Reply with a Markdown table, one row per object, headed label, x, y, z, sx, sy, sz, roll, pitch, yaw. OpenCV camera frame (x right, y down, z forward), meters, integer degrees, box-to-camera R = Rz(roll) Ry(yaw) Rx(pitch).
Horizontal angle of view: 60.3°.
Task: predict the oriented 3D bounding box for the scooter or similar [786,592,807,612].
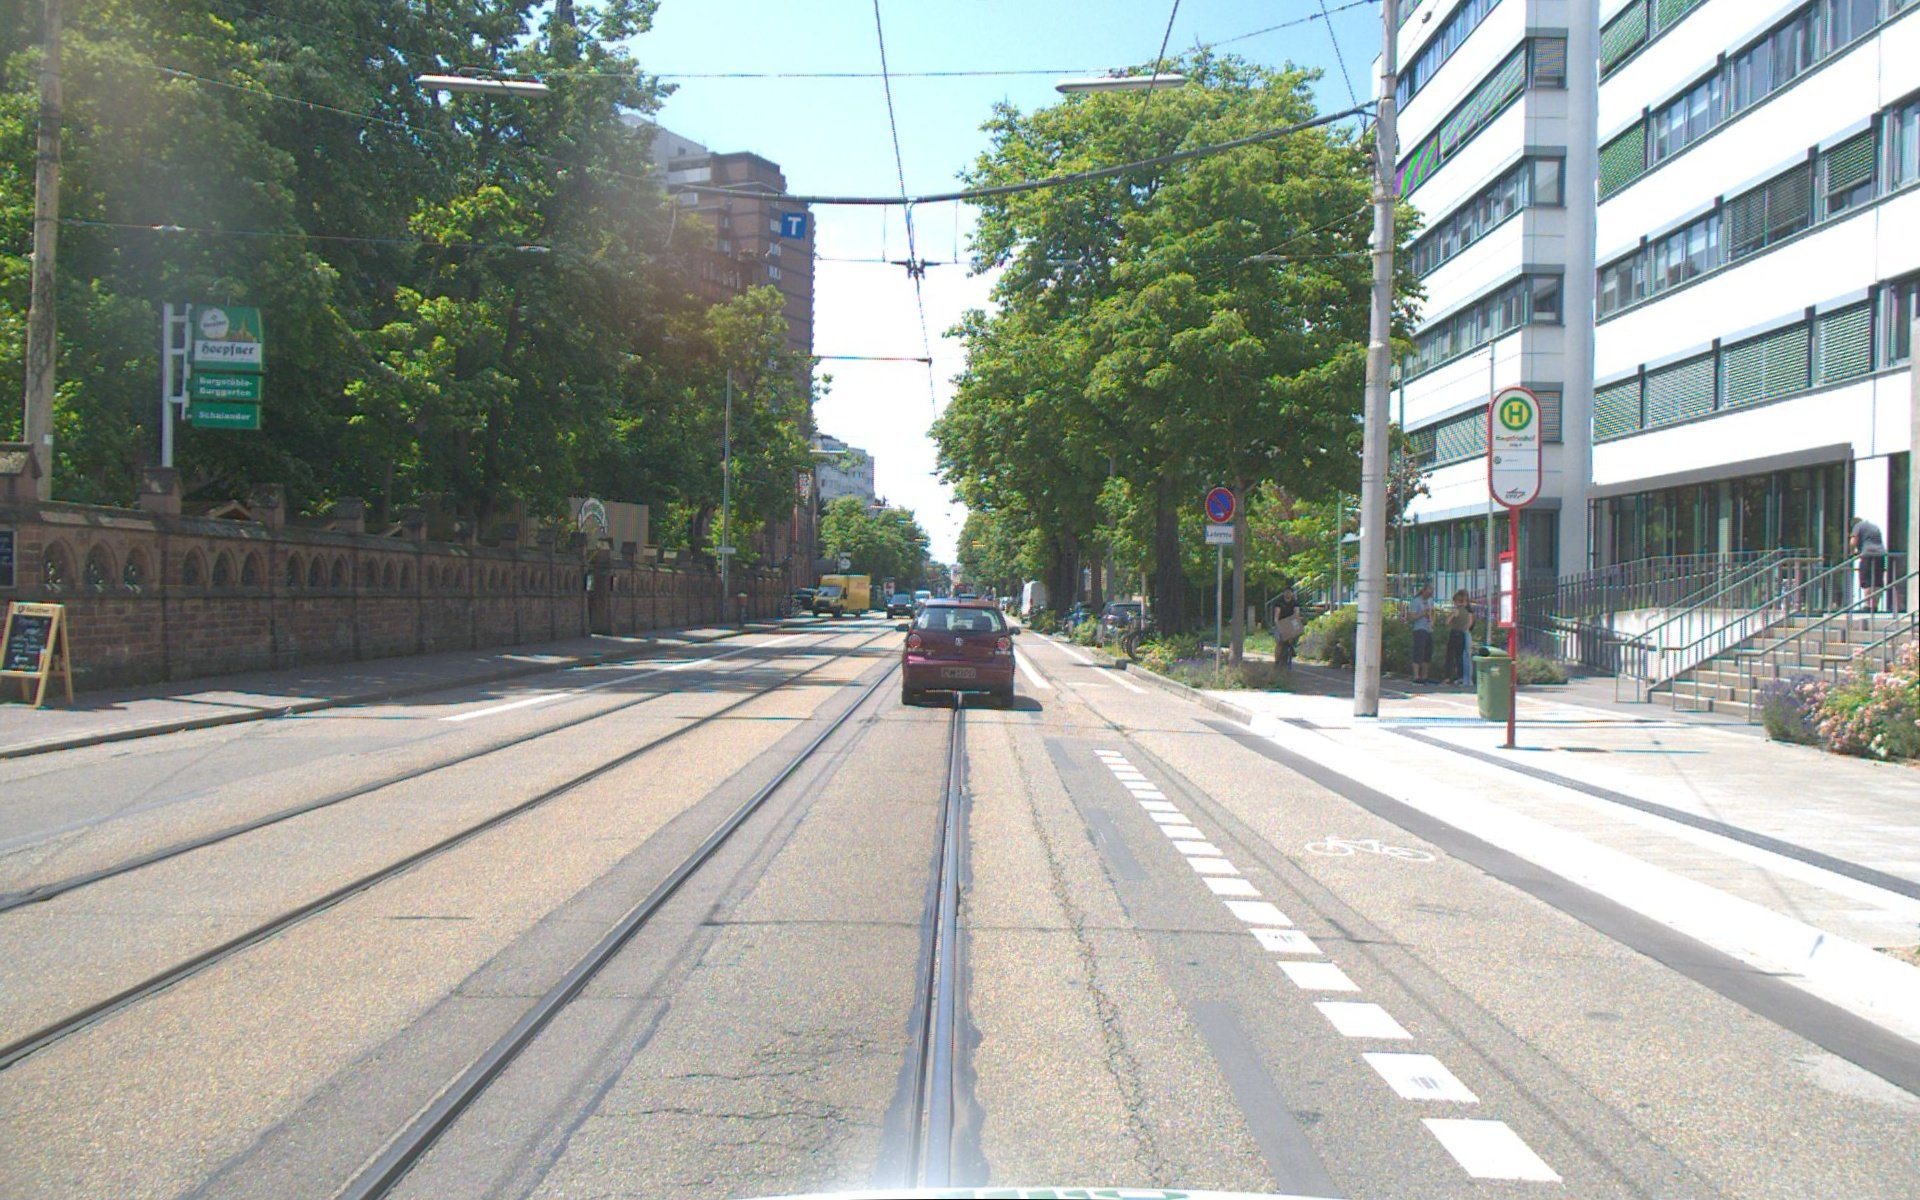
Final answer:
| label | x | y | z | sx | sy | sz | roll | pitch | yaw |
| --- | --- | --- | --- | --- | --- | --- | --- | --- | --- |
| scooter or similar | -9.826 | 0.107 | 99.317 | 1.073 | 1.175 | 0.524 | 2 | 0 | -21 |

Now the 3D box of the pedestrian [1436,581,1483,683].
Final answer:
| label | x | y | z | sx | sy | sz | roll | pitch | yaw |
| --- | --- | --- | --- | --- | --- | --- | --- | --- | --- |
| pedestrian | 8.701 | 0.552 | 28.833 | 0.531 | 1.745 | 0.560 | 0 | -1 | -29 |

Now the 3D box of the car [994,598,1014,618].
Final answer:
| label | x | y | z | sx | sy | sz | roll | pitch | yaw |
| --- | --- | --- | --- | --- | --- | --- | --- | --- | --- |
| car | 3.980 | 0.689 | 149.964 | 1.640 | 1.685 | 4.000 | 2 | 0 | 0 |

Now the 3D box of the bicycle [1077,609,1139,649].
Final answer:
| label | x | y | z | sx | sy | sz | roll | pitch | yaw |
| --- | --- | --- | --- | --- | --- | --- | --- | --- | --- |
| bicycle | 4.254 | 0.826 | 47.683 | 1.715 | 1.104 | 0.548 | 1 | 0 | 0 |

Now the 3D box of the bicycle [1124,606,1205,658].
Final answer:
| label | x | y | z | sx | sy | sz | roll | pitch | yaw |
| --- | --- | --- | --- | --- | --- | --- | --- | --- | --- |
| bicycle | 4.898 | 0.763 | 39.719 | 1.845 | 1.203 | 0.694 | 0 | -1 | 0 |

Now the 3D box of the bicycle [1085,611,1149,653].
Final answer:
| label | x | y | z | sx | sy | sz | roll | pitch | yaw |
| --- | --- | --- | --- | --- | --- | --- | --- | --- | --- |
| bicycle | 4.346 | 0.888 | 45.833 | 1.715 | 1.104 | 0.548 | 1 | 0 | 0 |

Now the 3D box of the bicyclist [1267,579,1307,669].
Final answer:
| label | x | y | z | sx | sy | sz | roll | pitch | yaw |
| --- | --- | --- | --- | --- | --- | --- | --- | --- | --- |
| bicyclist | 6.721 | 0.492 | 34.054 | 0.682 | 1.831 | 0.888 | 0 | -1 | 3 |

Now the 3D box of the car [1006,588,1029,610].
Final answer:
| label | x | y | z | sx | sy | sz | roll | pitch | yaw |
| --- | --- | --- | --- | --- | --- | --- | --- | --- | --- |
| car | 4.644 | -0.118 | 133.203 | 1.640 | 1.685 | 4.000 | 2 | 0 | 0 |

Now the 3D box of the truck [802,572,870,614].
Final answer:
| label | x | y | z | sx | sy | sz | roll | pitch | yaw |
| --- | --- | --- | --- | --- | --- | --- | --- | --- | --- |
| truck | -8.552 | -0.457 | 114.699 | 2.319 | 2.836 | 7.324 | 1 | 0 | 15 |

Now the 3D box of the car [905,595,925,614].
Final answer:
| label | x | y | z | sx | sy | sz | roll | pitch | yaw |
| --- | --- | --- | --- | --- | --- | --- | --- | --- | --- |
| car | -4.772 | 0.471 | 176.898 | 1.953 | 1.887 | 4.682 | 1 | 0 | 0 |

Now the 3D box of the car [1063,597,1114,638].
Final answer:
| label | x | y | z | sx | sy | sz | roll | pitch | yaw |
| --- | --- | --- | --- | --- | --- | --- | --- | --- | --- |
| car | 4.933 | 0.655 | 64.062 | 1.654 | 1.494 | 3.879 | 1 | 0 | 0 |

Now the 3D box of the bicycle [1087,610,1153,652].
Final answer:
| label | x | y | z | sx | sy | sz | roll | pitch | yaw |
| --- | --- | --- | --- | --- | --- | --- | --- | --- | --- |
| bicycle | 4.324 | 0.835 | 44.655 | 1.715 | 1.104 | 0.548 | 1 | 0 | 0 |

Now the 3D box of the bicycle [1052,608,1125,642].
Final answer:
| label | x | y | z | sx | sy | sz | roll | pitch | yaw |
| --- | --- | --- | --- | --- | --- | --- | --- | --- | --- |
| bicycle | 5.508 | 1.062 | 70.871 | 3.008 | 1.336 | 0.781 | 3 | 0 | -2 |

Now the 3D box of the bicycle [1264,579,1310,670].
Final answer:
| label | x | y | z | sx | sy | sz | roll | pitch | yaw |
| --- | --- | --- | --- | --- | --- | --- | --- | --- | --- |
| bicycle | 6.710 | 0.493 | 34.006 | 0.675 | 1.817 | 1.811 | 0 | -1 | 3 |

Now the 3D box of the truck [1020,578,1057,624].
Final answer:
| label | x | y | z | sx | sy | sz | roll | pitch | yaw |
| --- | --- | --- | --- | --- | --- | --- | --- | --- | --- |
| truck | 4.805 | 0.036 | 101.635 | 1.953 | 2.708 | 4.875 | 2 | 0 | 0 |

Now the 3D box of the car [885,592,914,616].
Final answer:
| label | x | y | z | sx | sy | sz | roll | pitch | yaw |
| --- | --- | --- | --- | --- | --- | --- | --- | --- | --- |
| car | -3.994 | 0.250 | 109.533 | 1.734 | 1.542 | 4.000 | 1 | 0 | 0 |

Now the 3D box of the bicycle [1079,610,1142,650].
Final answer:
| label | x | y | z | sx | sy | sz | roll | pitch | yaw |
| --- | --- | --- | --- | --- | --- | --- | --- | --- | --- |
| bicycle | 4.278 | 0.848 | 47.044 | 1.715 | 1.104 | 0.548 | 1 | 0 | 0 |

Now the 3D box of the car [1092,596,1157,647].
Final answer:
| label | x | y | z | sx | sy | sz | roll | pitch | yaw |
| --- | --- | --- | --- | --- | --- | --- | --- | --- | --- |
| car | 5.124 | 0.649 | 51.905 | 1.654 | 1.529 | 3.627 | 0 | 0 | 0 |

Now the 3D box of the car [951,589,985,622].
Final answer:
| label | x | y | z | sx | sy | sz | roll | pitch | yaw |
| --- | --- | --- | --- | --- | --- | --- | --- | --- | --- |
| car | 0.498 | 0.337 | 106.292 | 1.953 | 2.049 | 3.999 | 2 | 0 | -2 |

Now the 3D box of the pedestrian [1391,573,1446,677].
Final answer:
| label | x | y | z | sx | sy | sz | roll | pitch | yaw |
| --- | --- | --- | --- | --- | --- | --- | --- | --- | --- |
| pedestrian | 8.228 | 0.443 | 29.695 | 0.671 | 1.828 | 0.667 | 0 | 0 | -31 |

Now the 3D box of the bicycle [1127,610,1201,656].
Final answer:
| label | x | y | z | sx | sy | sz | roll | pitch | yaw |
| --- | --- | --- | --- | --- | --- | --- | --- | --- | --- |
| bicycle | 5.042 | 0.822 | 40.953 | 1.787 | 1.104 | 0.719 | 1 | -1 | 3 |

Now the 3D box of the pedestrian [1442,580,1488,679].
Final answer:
| label | x | y | z | sx | sy | sz | roll | pitch | yaw |
| --- | --- | --- | --- | --- | --- | --- | --- | --- | --- |
| pedestrian | 8.969 | 0.522 | 29.387 | 0.531 | 1.745 | 0.560 | 0 | -1 | -29 |

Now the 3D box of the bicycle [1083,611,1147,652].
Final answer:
| label | x | y | z | sx | sy | sz | roll | pitch | yaw |
| --- | --- | --- | --- | --- | --- | --- | --- | --- | --- |
| bicycle | 4.347 | 0.881 | 46.425 | 1.715 | 1.104 | 0.548 | 1 | 0 | 0 |

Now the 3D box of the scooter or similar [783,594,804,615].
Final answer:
| label | x | y | z | sx | sy | sz | roll | pitch | yaw |
| --- | --- | --- | --- | --- | --- | --- | --- | --- | --- |
| scooter or similar | -9.850 | 0.269 | 97.947 | 1.073 | 1.175 | 0.524 | 2 | 0 | -21 |

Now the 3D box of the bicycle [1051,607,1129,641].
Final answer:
| label | x | y | z | sx | sy | sz | roll | pitch | yaw |
| --- | --- | --- | --- | --- | --- | --- | --- | --- | --- |
| bicycle | 5.670 | 1.035 | 72.338 | 3.300 | 1.336 | 0.781 | 3 | 0 | -2 |

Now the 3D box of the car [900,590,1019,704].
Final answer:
| label | x | y | z | sx | sy | sz | roll | pitch | yaw |
| --- | --- | --- | --- | --- | --- | --- | --- | --- | --- |
| car | -0.018 | 0.631 | 24.402 | 1.586 | 1.512 | 3.999 | 1 | 0 | -1 |

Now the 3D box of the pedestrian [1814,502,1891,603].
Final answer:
| label | x | y | z | sx | sy | sz | roll | pitch | yaw |
| --- | --- | --- | --- | --- | --- | --- | --- | --- | --- |
| pedestrian | 15.868 | -0.834 | 29.411 | 0.860 | 1.746 | 0.807 | 2 | 0 | -1 |

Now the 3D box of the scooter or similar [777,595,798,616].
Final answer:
| label | x | y | z | sx | sy | sz | roll | pitch | yaw |
| --- | --- | --- | --- | --- | --- | --- | --- | --- | --- |
| scooter or similar | -9.963 | 0.316 | 95.284 | 1.073 | 1.175 | 0.524 | 2 | 0 | -21 |

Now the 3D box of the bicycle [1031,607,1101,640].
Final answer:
| label | x | y | z | sx | sy | sz | roll | pitch | yaw |
| --- | --- | --- | --- | --- | --- | --- | --- | --- | --- |
| bicycle | 4.753 | 1.038 | 74.231 | 3.008 | 1.336 | 0.781 | 3 | 0 | -2 |
